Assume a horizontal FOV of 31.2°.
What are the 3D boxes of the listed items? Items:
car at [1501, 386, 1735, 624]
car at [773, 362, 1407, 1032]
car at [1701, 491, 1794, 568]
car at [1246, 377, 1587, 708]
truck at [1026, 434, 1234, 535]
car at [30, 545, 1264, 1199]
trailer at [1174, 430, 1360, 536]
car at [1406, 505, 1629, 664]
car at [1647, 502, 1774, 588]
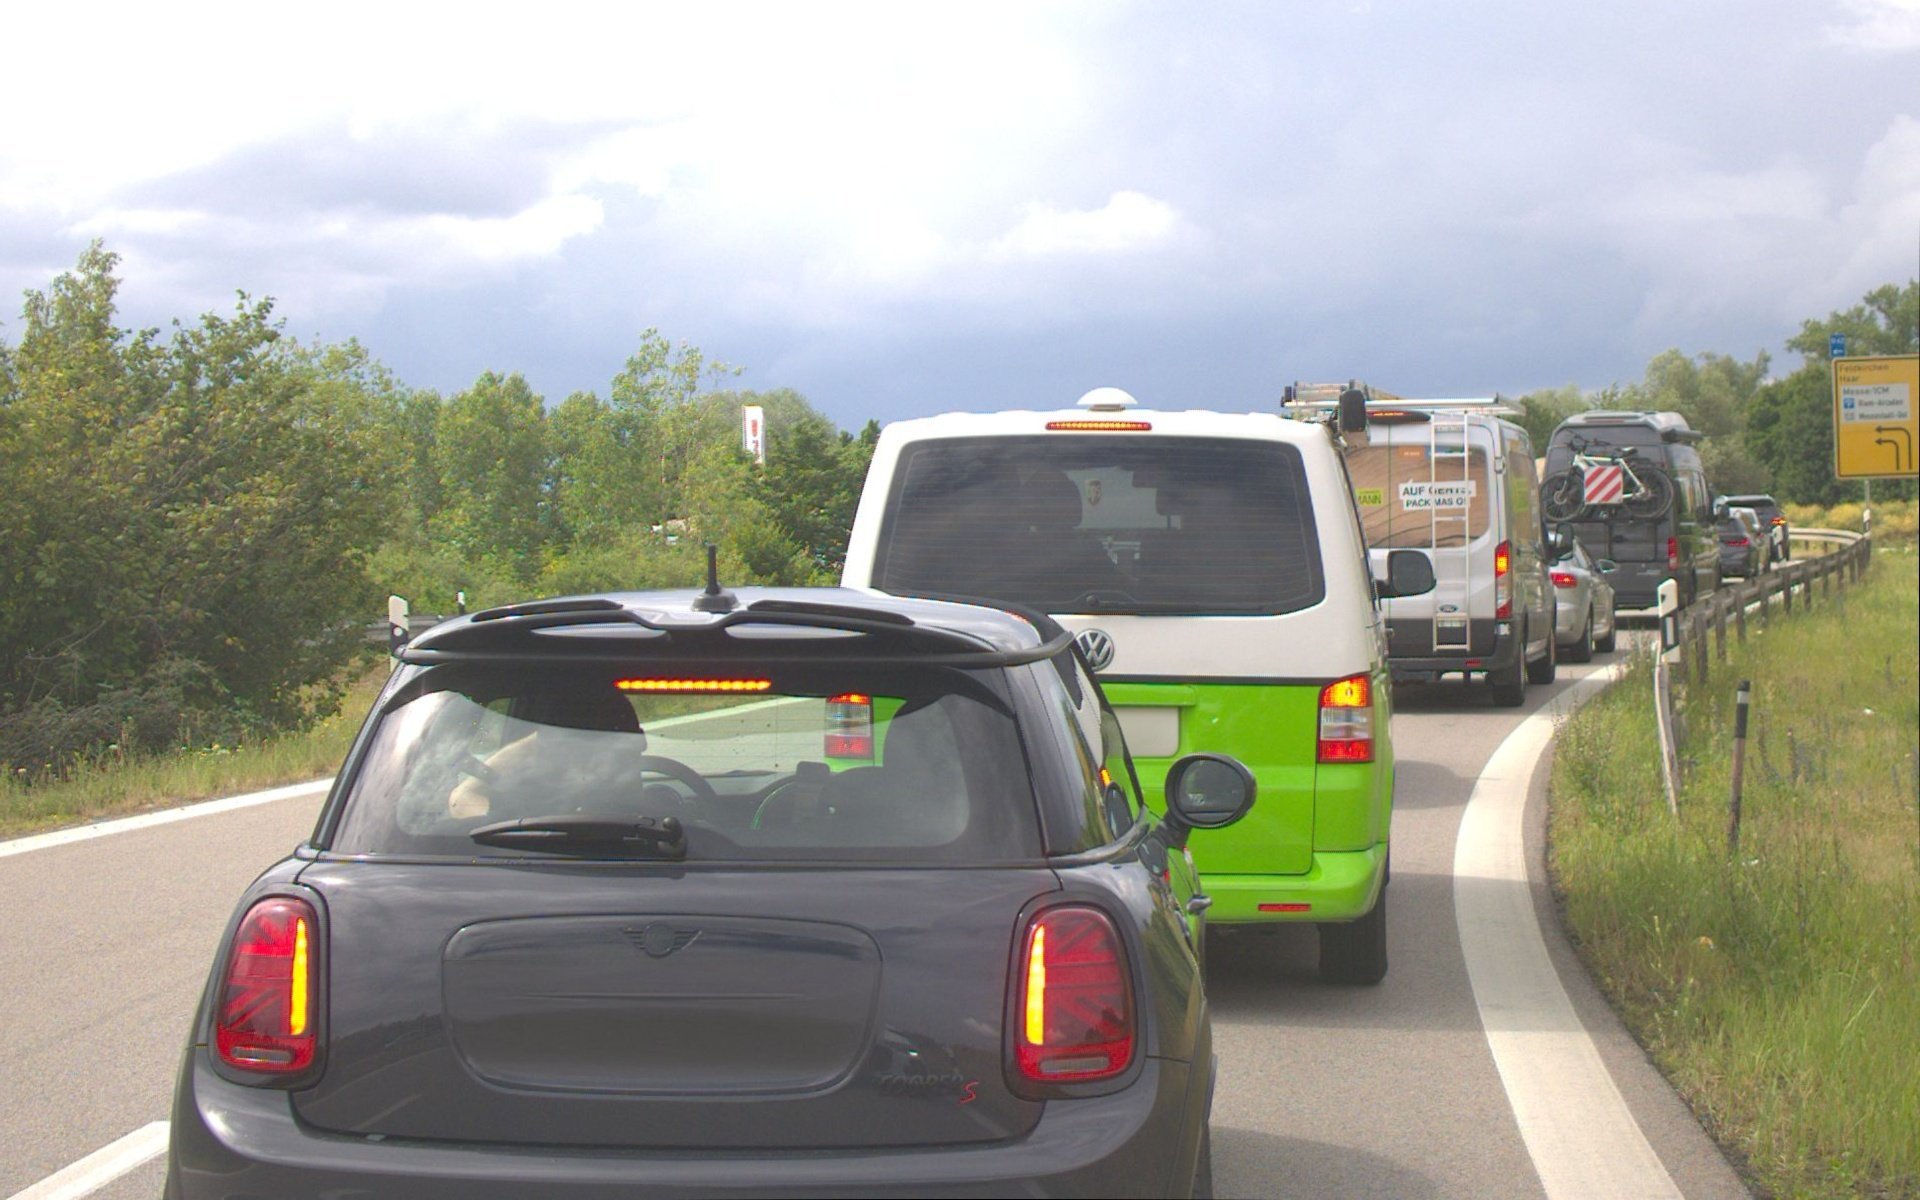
[{"bbox_3d":[9.226,-1.256,47.712,2.313,3.058,6.656,1,1,18],"label":"car"},{"bbox_3d":[0.656,0.261,12.669,1.911,2.038,4.180,0,1,8],"label":"car"},{"bbox_3d":[19.919,-1.758,87.149,2.096,1.876,4.493,1,1,11],"label":"car"},{"bbox_3d":[4.116,-0.486,30.122,2.213,2.613,5.530,1,1,15],"label":"car"},{"bbox_3d":[6.863,-4.671,140.846,2.836,3.962,10.028,0,1,-36],"label":"truck"},{"bbox_3d":[-0.351,0.673,6.853,1.800,1.541,3.738,0,1,4],"label":"car"},{"bbox_3d":[11.793,-4.458,132.987,3.035,3.884,8.774,1,1,-26],"label":"trailer"},{"bbox_3d":[6.177,-0.181,37.792,1.995,1.636,3.926,1,1,15],"label":"car"},{"bbox_3d":[14.361,-1.031,65.605,1.895,1.583,4.491,1,1,18],"label":"car"}]
